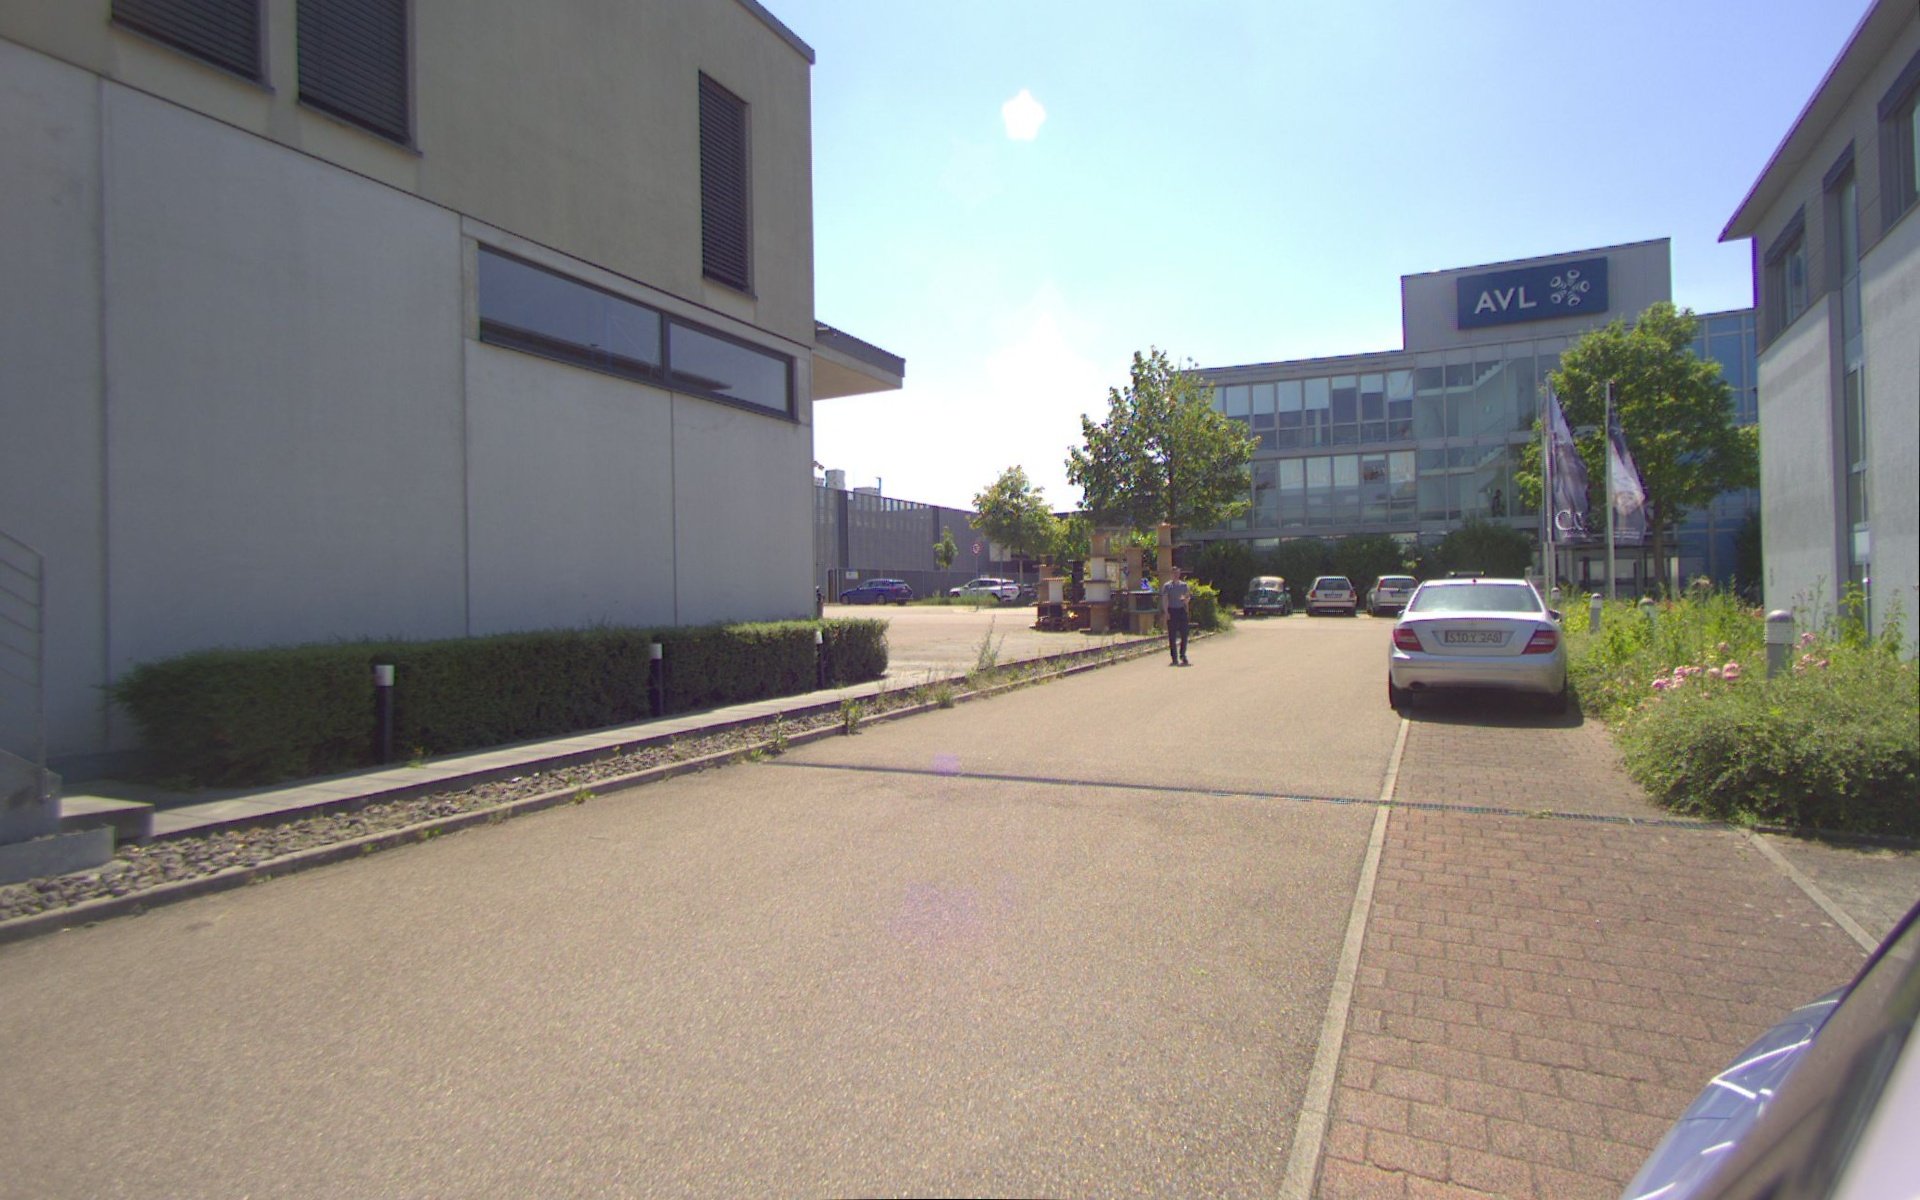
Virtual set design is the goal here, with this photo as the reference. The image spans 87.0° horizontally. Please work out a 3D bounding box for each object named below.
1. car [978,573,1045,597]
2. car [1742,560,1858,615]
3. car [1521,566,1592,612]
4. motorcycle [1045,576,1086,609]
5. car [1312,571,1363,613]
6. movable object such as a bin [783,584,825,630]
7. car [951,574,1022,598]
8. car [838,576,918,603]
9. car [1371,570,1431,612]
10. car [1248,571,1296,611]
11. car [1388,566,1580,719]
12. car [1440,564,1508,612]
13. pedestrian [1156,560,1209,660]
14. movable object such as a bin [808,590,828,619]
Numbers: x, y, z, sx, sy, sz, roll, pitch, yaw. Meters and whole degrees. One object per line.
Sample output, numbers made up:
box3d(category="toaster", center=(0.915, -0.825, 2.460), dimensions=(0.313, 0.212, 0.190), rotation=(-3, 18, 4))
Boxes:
box3d(category="car", center=(3.343, -0.959, 66.245), dimensions=(4.272, 1.494, 1.754), rotation=(0, 1, 42))
box3d(category="car", center=(26.696, -0.429, 32.318), dimensions=(1.814, 1.658, 4.137), rotation=(0, 1, 25))
box3d(category="car", center=(20.672, -0.405, 35.224), dimensions=(1.713, 1.503, 4.359), rotation=(-1, 1, 25))
box3d(category="motorcycle", center=(4.367, -0.309, 41.779), dimensions=(0.864, 1.275, 2.814), rotation=(0, 2, 23))
box3d(category="car", center=(14.122, -0.352, 37.997), dimensions=(1.622, 1.470, 3.580), rotation=(1, 2, 18))
box3d(category="movable object such as a bin", center=(-4.414, 0.178, 28.638), dimensions=(0.870, 1.265, 0.792), rotation=(0, 2, 34))
box3d(category="car", center=(1.636, -0.887, 63.813), dimensions=(4.397, 1.494, 1.754), rotation=(0, 1, 42))
box3d(category="car", center=(-4.594, -0.568, 56.315), dimensions=(4.424, 1.427, 1.834), rotation=(0, 1, 39))
box3d(category="car", center=(16.324, -0.373, 37.609), dimensions=(1.710, 1.470, 3.580), rotation=(0, 2, 18))
box3d(category="car", center=(12.011, -0.377, 38.830), dimensions=(1.505, 1.463, 3.395), rotation=(0, 2, 22))
box3d(category="car", center=(6.210, 0.354, 12.007), dimensions=(1.719, 1.475, 4.107), rotation=(0, 1, 28))
box3d(category="car", center=(18.389, -0.467, 36.343), dimensions=(1.919, 1.622, 3.829), rotation=(0, 2, 24))
box3d(category="pedestrian", center=(4.099, 0.176, 18.699), dimensions=(0.794, 1.790, 0.768), rotation=(-1, 1, 4))
box3d(category="movable object such as a bin", center=(-4.673, 0.132, 33.353), dimensions=(0.574, 0.929, 0.547), rotation=(-1, 2, 1))
